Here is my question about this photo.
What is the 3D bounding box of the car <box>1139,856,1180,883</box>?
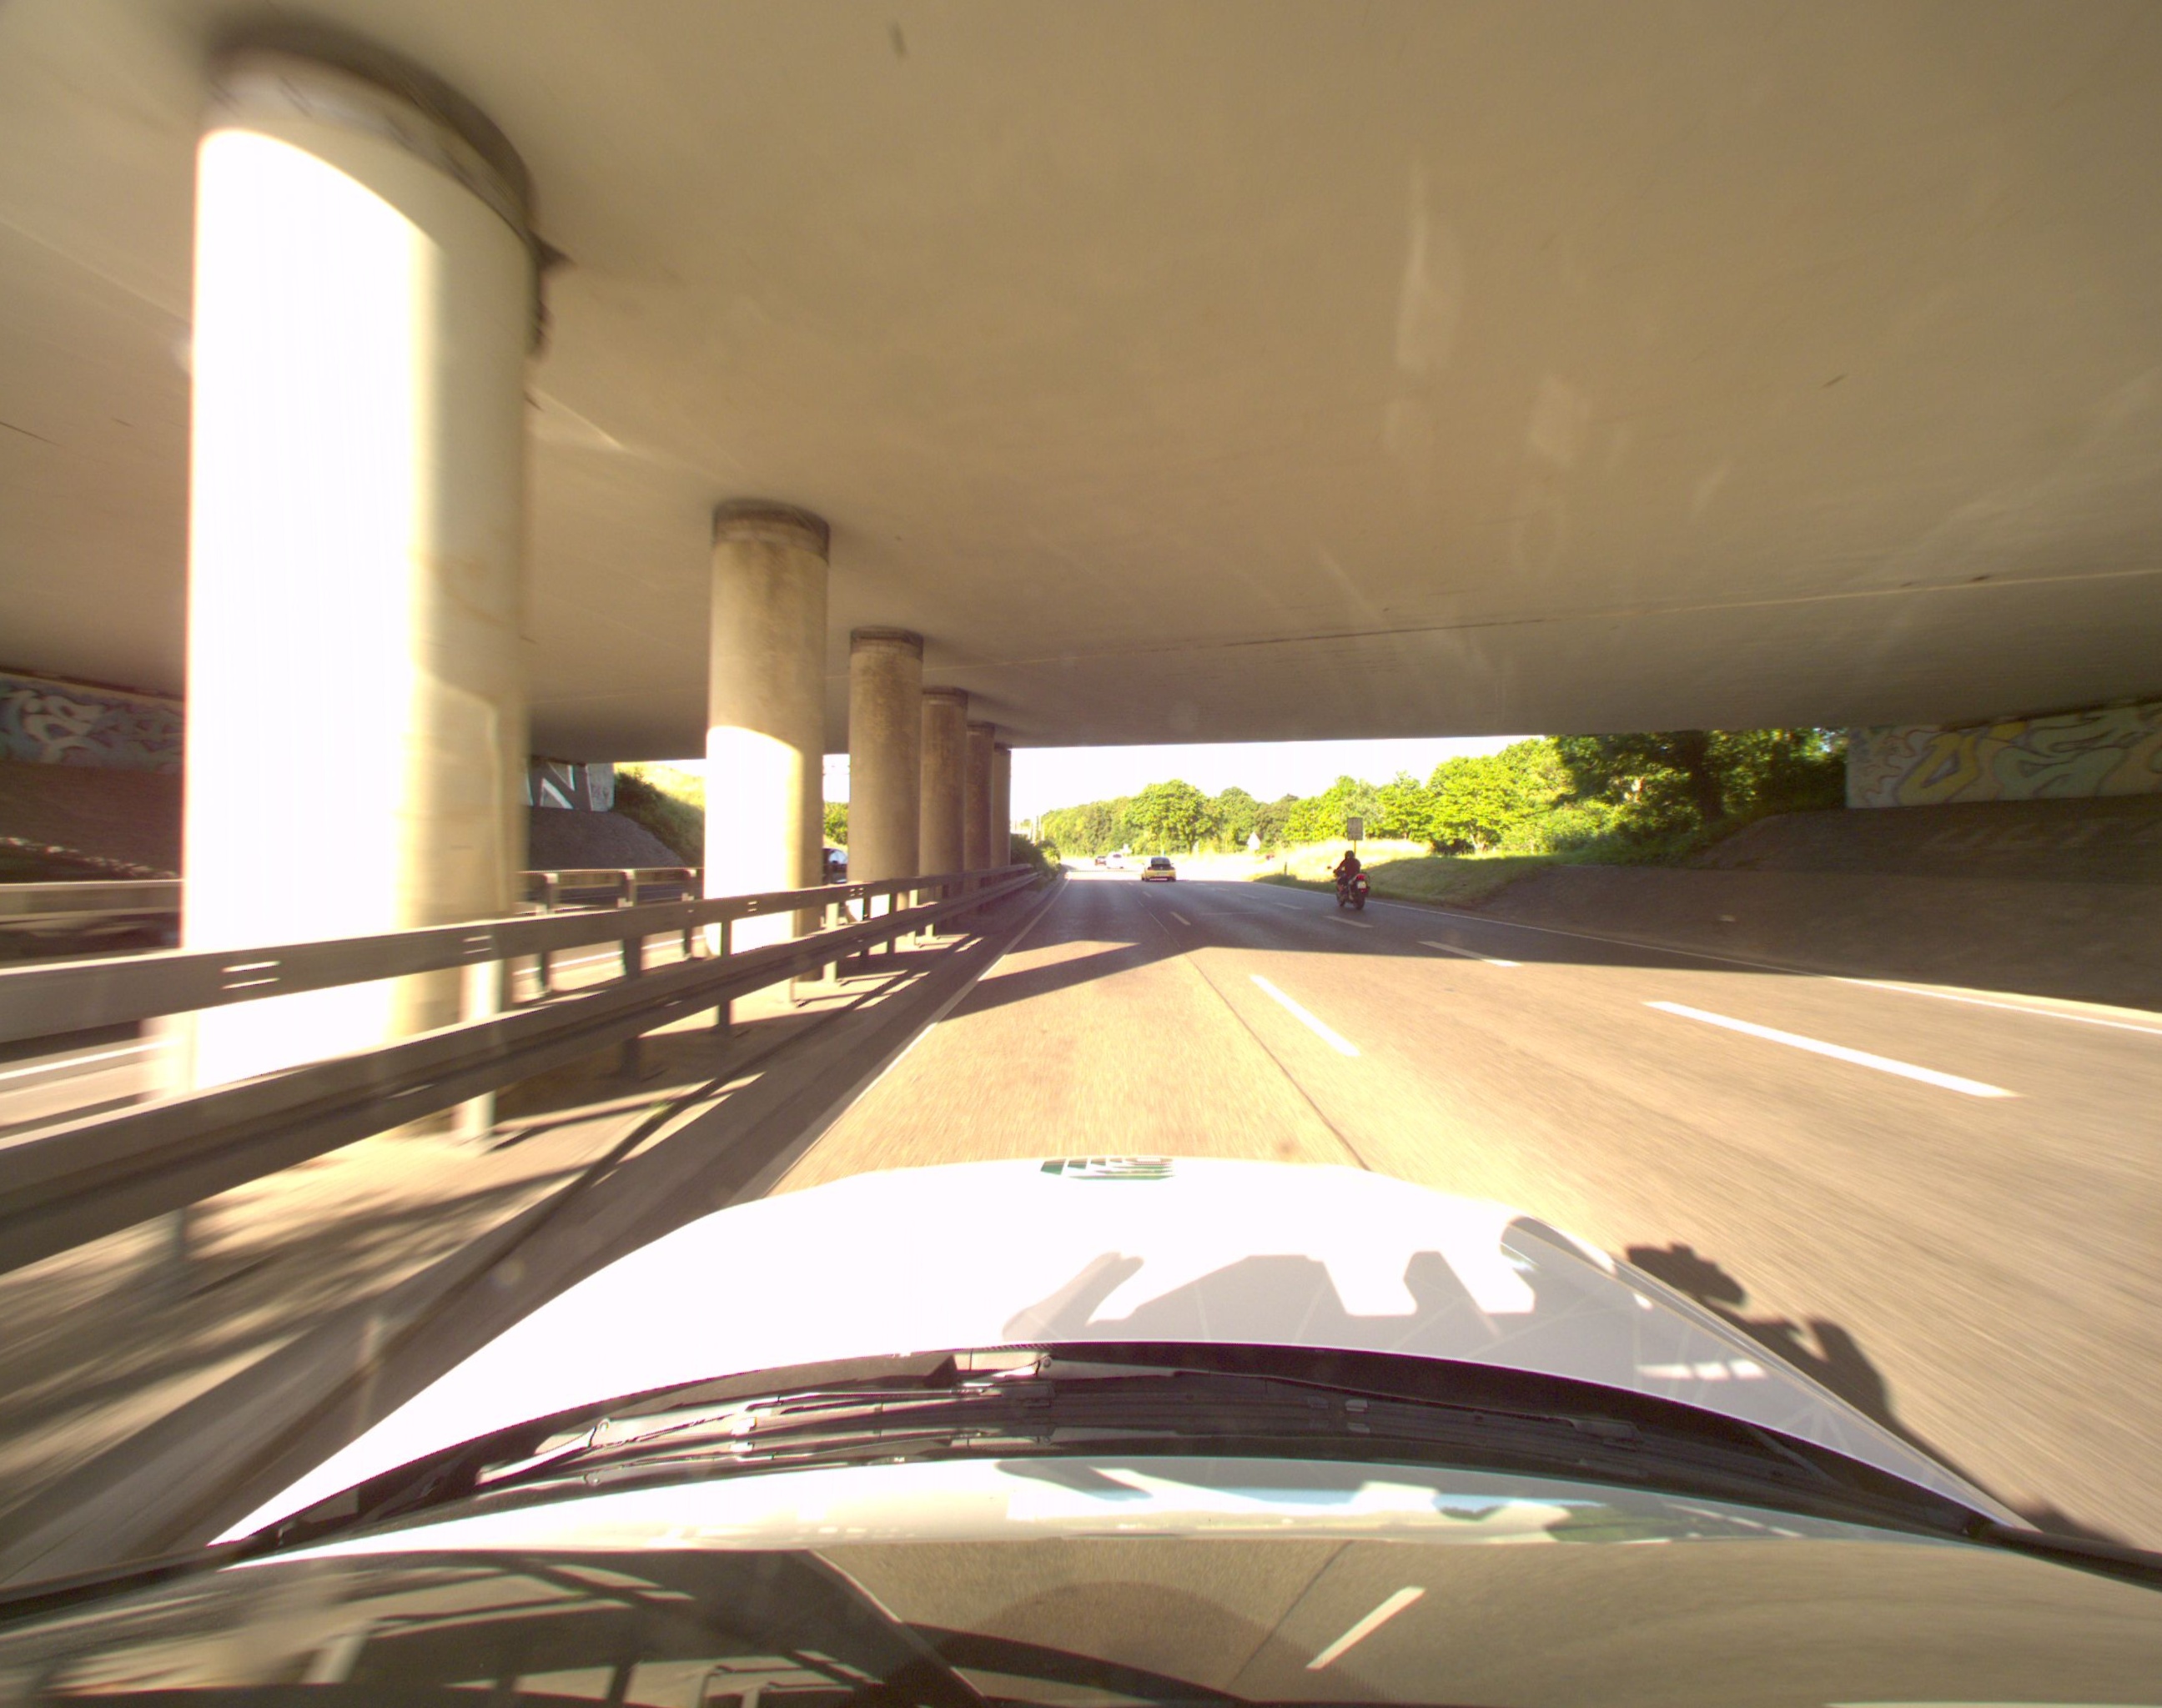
[{"bbox_3d":[4.628,0.880,48.470,1.892,1.471,3.996,-1,0,-3],"label":"car"}]

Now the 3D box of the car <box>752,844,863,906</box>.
[{"bbox_3d":[-7.530,0.553,22.793,1.730,1.574,3.999,0,0,0],"label":"car"}]

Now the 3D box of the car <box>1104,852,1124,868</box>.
[{"bbox_3d":[3.710,0.673,91.853,1.893,1.767,3.995,-1,-1,-4],"label":"car"}]

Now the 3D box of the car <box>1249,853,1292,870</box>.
[{"bbox_3d":[23.580,0.957,101.477,4.782,2.024,2.022,0,-3,-6],"label":"car"}]

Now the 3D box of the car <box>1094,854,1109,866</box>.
[{"bbox_3d":[2.960,0.885,118.489,1.892,1.767,3.997,-1,0,-2],"label":"car"}]

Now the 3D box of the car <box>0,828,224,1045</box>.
[{"bbox_3d":[-8.362,0.569,4.982,1.743,1.505,4.224,0,0,0],"label":"car"}]

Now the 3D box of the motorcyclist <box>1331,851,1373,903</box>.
[{"bbox_3d":[7.674,0.643,23.087,0.814,1.447,1.093,0,-1,-1],"label":"motorcyclist"}]

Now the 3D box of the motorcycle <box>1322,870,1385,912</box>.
[{"bbox_3d":[7.672,1.007,23.100,0.814,1.069,2.835,0,0,0],"label":"motorcycle"}]
